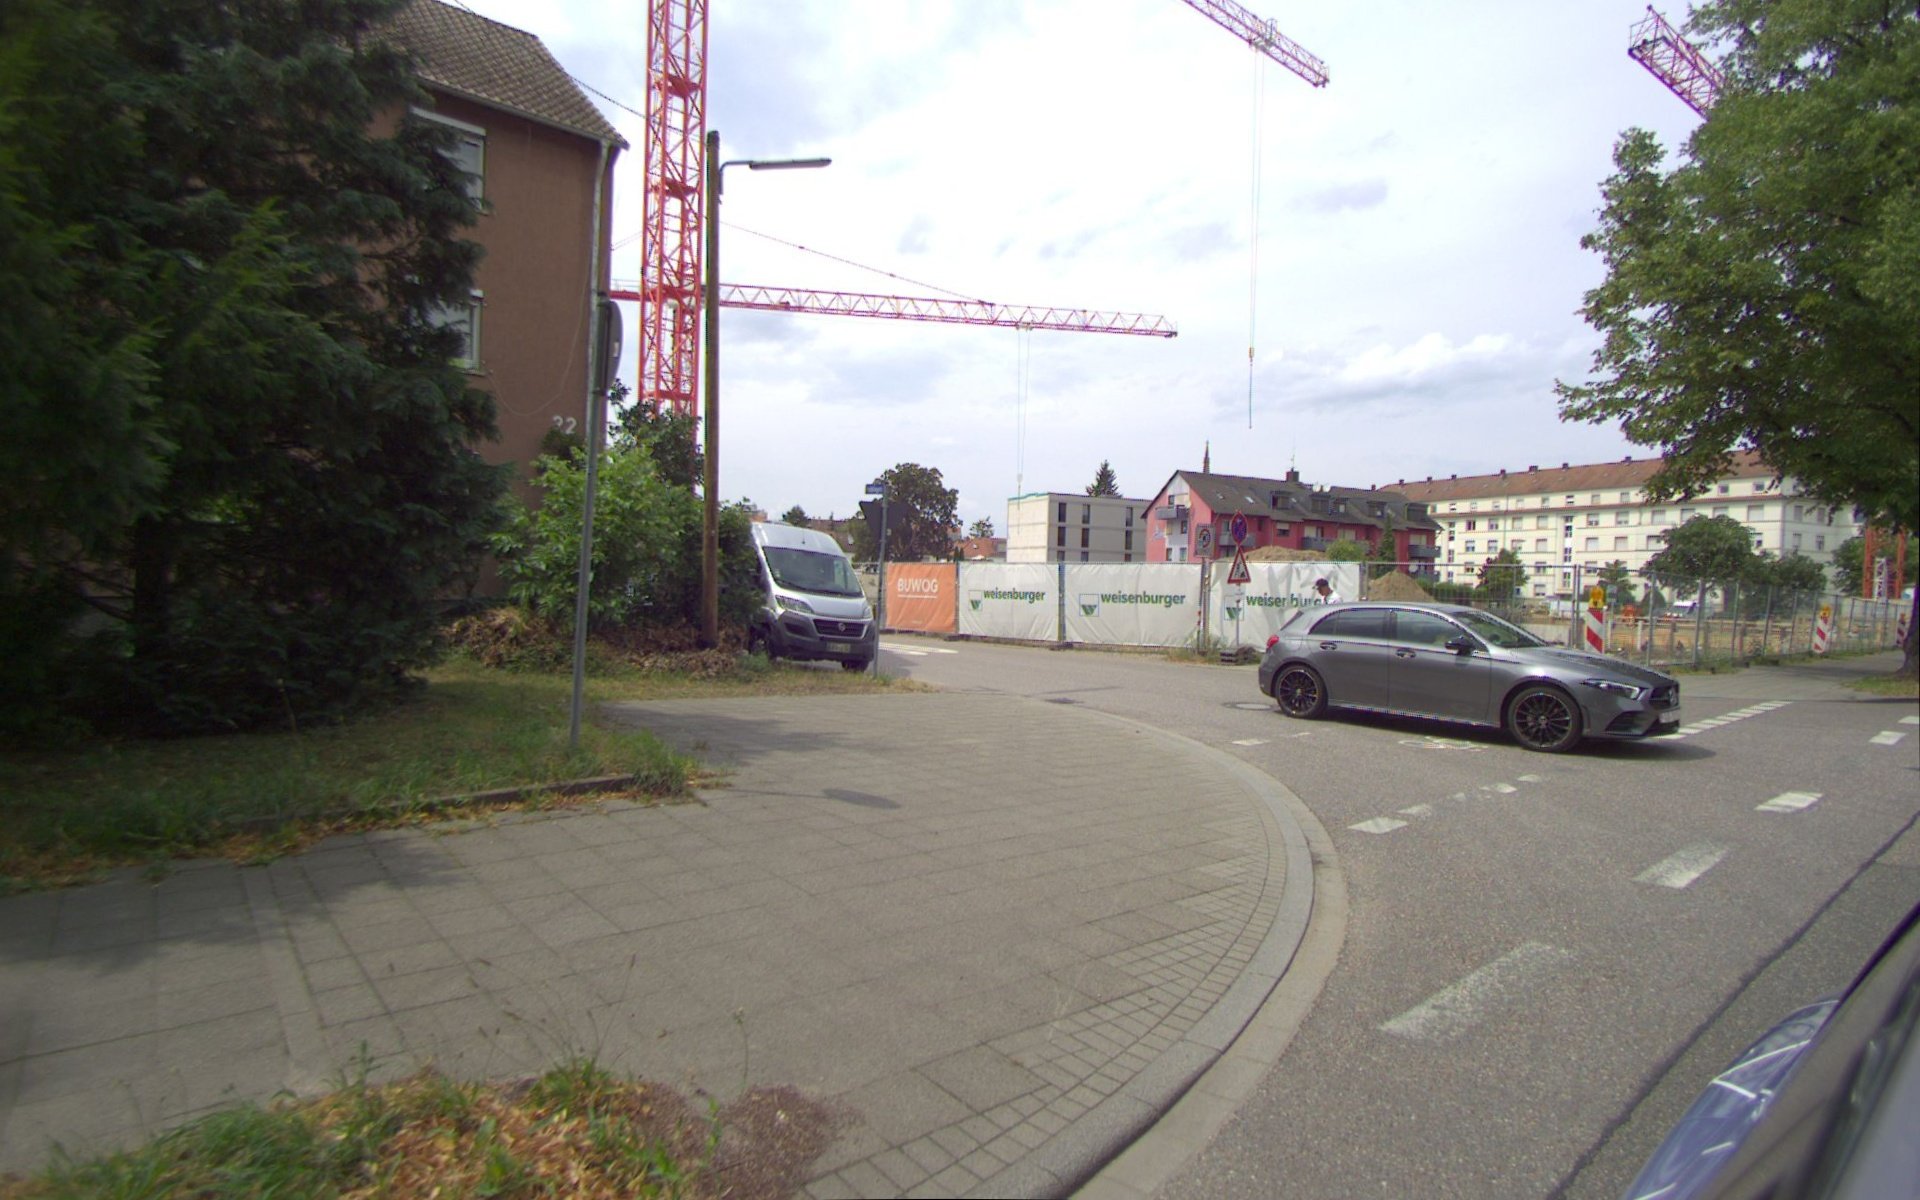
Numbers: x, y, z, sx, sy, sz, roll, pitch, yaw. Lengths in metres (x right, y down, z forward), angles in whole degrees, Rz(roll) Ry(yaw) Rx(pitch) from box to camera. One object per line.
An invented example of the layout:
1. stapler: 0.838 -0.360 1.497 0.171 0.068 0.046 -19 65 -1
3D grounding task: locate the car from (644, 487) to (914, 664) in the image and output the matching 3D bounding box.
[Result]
1. car: -3.436 -0.446 18.136 2.293 2.665 5.487 3 0 -39

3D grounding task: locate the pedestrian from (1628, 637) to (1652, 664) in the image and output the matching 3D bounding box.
1. pedestrian: 47.007 3.490 69.930 0.965 1.743 0.845 3 2 1

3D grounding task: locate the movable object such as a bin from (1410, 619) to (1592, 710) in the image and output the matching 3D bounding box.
1. movable object such as a bin: 19.089 2.175 35.952 3.068 2.621 4.708 1 3 -27

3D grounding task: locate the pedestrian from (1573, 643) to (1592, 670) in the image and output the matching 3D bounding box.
1. pedestrian: 42.627 3.879 69.298 0.707 1.743 0.845 3 2 1

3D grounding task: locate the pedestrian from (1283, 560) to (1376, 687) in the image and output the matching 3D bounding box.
1. pedestrian: 5.606 0.345 15.385 0.870 1.836 0.887 2 2 -22

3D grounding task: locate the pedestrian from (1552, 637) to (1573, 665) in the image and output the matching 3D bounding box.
1. pedestrian: 39.578 3.338 66.522 0.828 1.743 0.722 2 2 -7

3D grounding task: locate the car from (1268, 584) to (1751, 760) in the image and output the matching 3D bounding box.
1. car: 5.938 0.606 11.415 1.975 1.460 4.382 -2 3 -39
